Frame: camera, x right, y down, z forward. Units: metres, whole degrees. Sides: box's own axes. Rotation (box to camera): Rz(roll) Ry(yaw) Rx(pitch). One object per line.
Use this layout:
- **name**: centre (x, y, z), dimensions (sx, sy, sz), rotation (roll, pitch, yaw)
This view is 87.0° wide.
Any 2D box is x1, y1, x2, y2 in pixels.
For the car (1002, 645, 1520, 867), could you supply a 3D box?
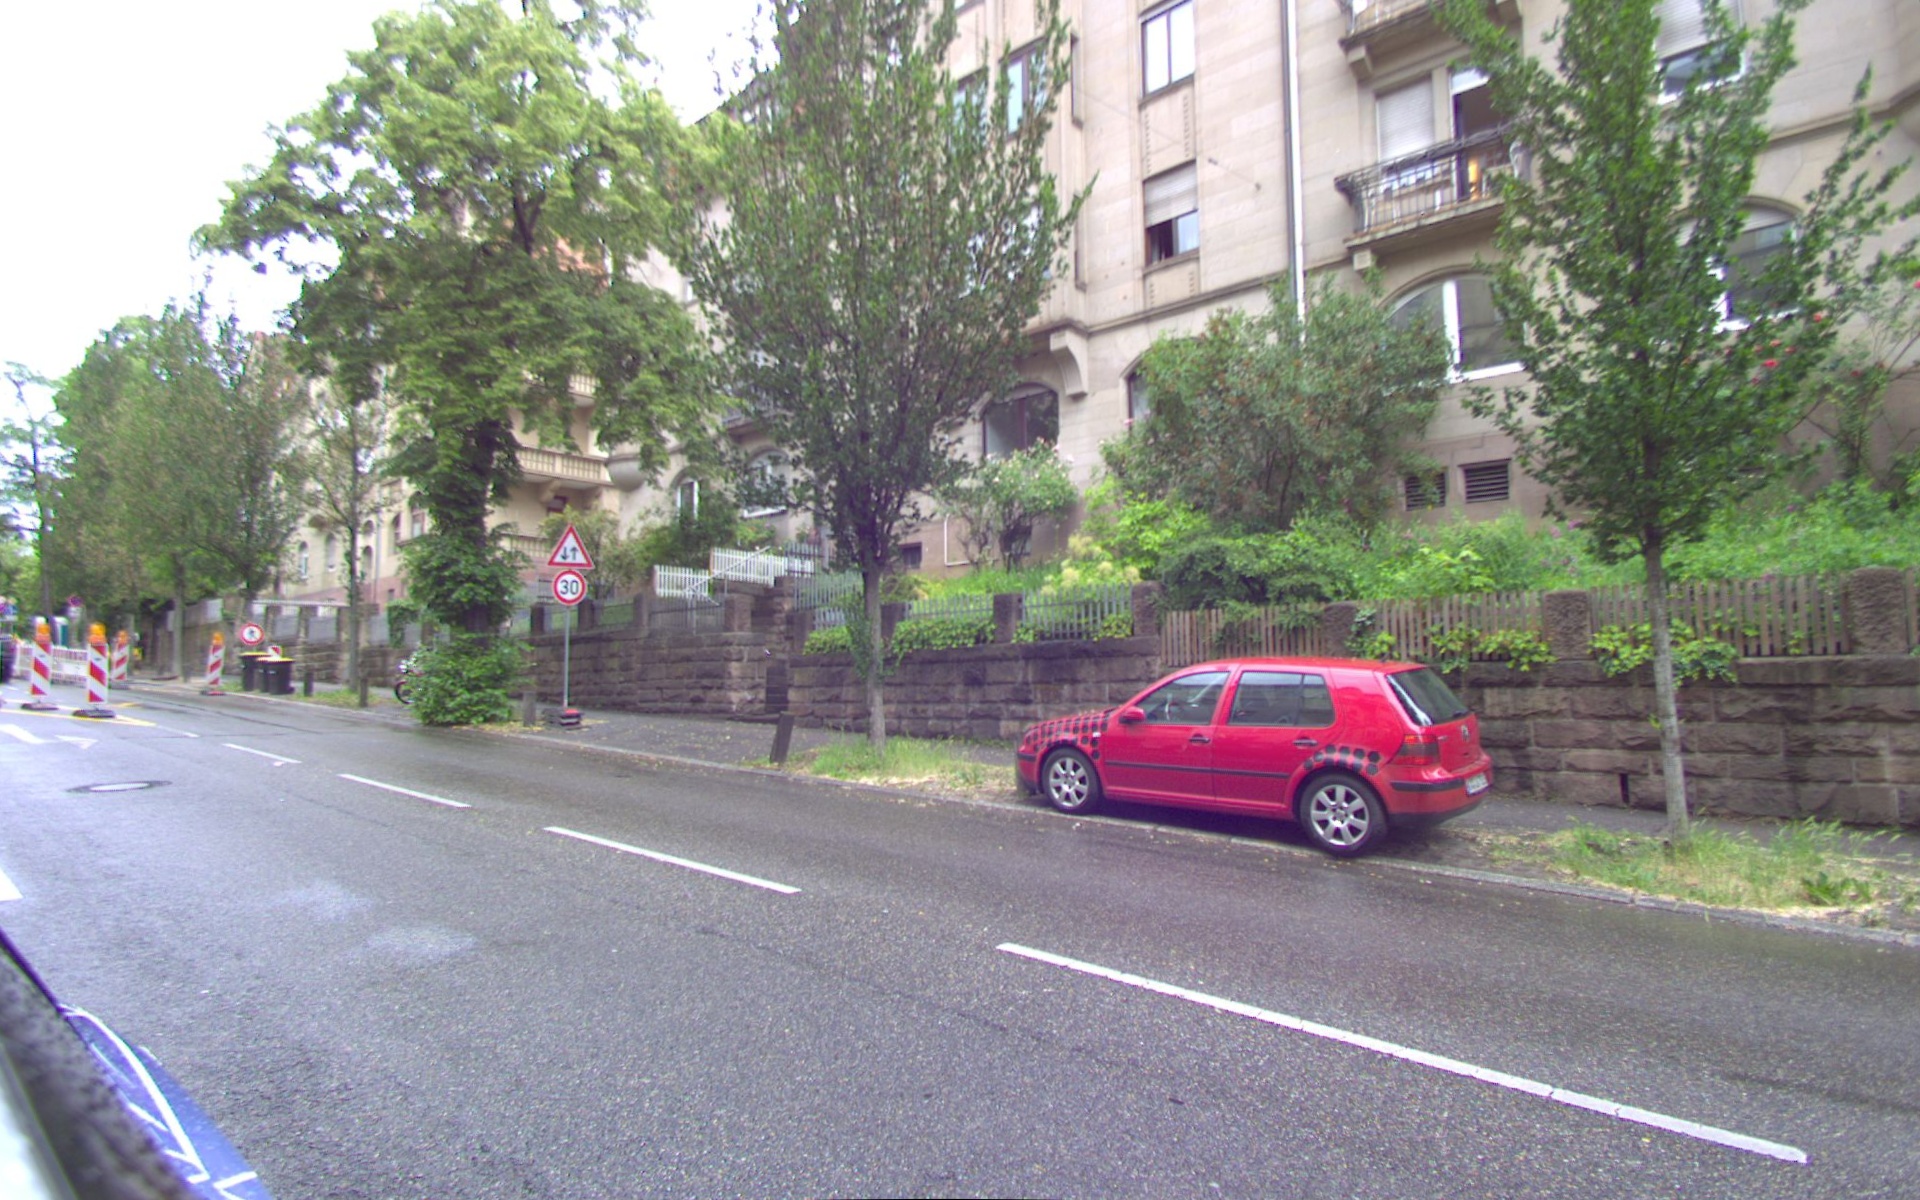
- **car**: centre (2.439, 1.148, 8.870), dimensions (4.062, 1.462, 1.596), rotation (-2, -3, 42)

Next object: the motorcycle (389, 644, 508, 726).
- **motorcycle**: centre (-9.723, 1.557, 19.163), dimensions (3.058, 1.425, 0.792), rotation (-2, -2, 38)

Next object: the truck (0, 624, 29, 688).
- **truck**: centre (-29.849, 1.652, 30.471), dimensions (5.150, 1.850, 2.049), rotation (-2, -5, 41)

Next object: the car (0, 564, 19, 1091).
- **car**: centre (-5.337, 0.759, 4.104), dimensions (4.520, 1.685, 1.799), rotation (-2, -3, 42)
